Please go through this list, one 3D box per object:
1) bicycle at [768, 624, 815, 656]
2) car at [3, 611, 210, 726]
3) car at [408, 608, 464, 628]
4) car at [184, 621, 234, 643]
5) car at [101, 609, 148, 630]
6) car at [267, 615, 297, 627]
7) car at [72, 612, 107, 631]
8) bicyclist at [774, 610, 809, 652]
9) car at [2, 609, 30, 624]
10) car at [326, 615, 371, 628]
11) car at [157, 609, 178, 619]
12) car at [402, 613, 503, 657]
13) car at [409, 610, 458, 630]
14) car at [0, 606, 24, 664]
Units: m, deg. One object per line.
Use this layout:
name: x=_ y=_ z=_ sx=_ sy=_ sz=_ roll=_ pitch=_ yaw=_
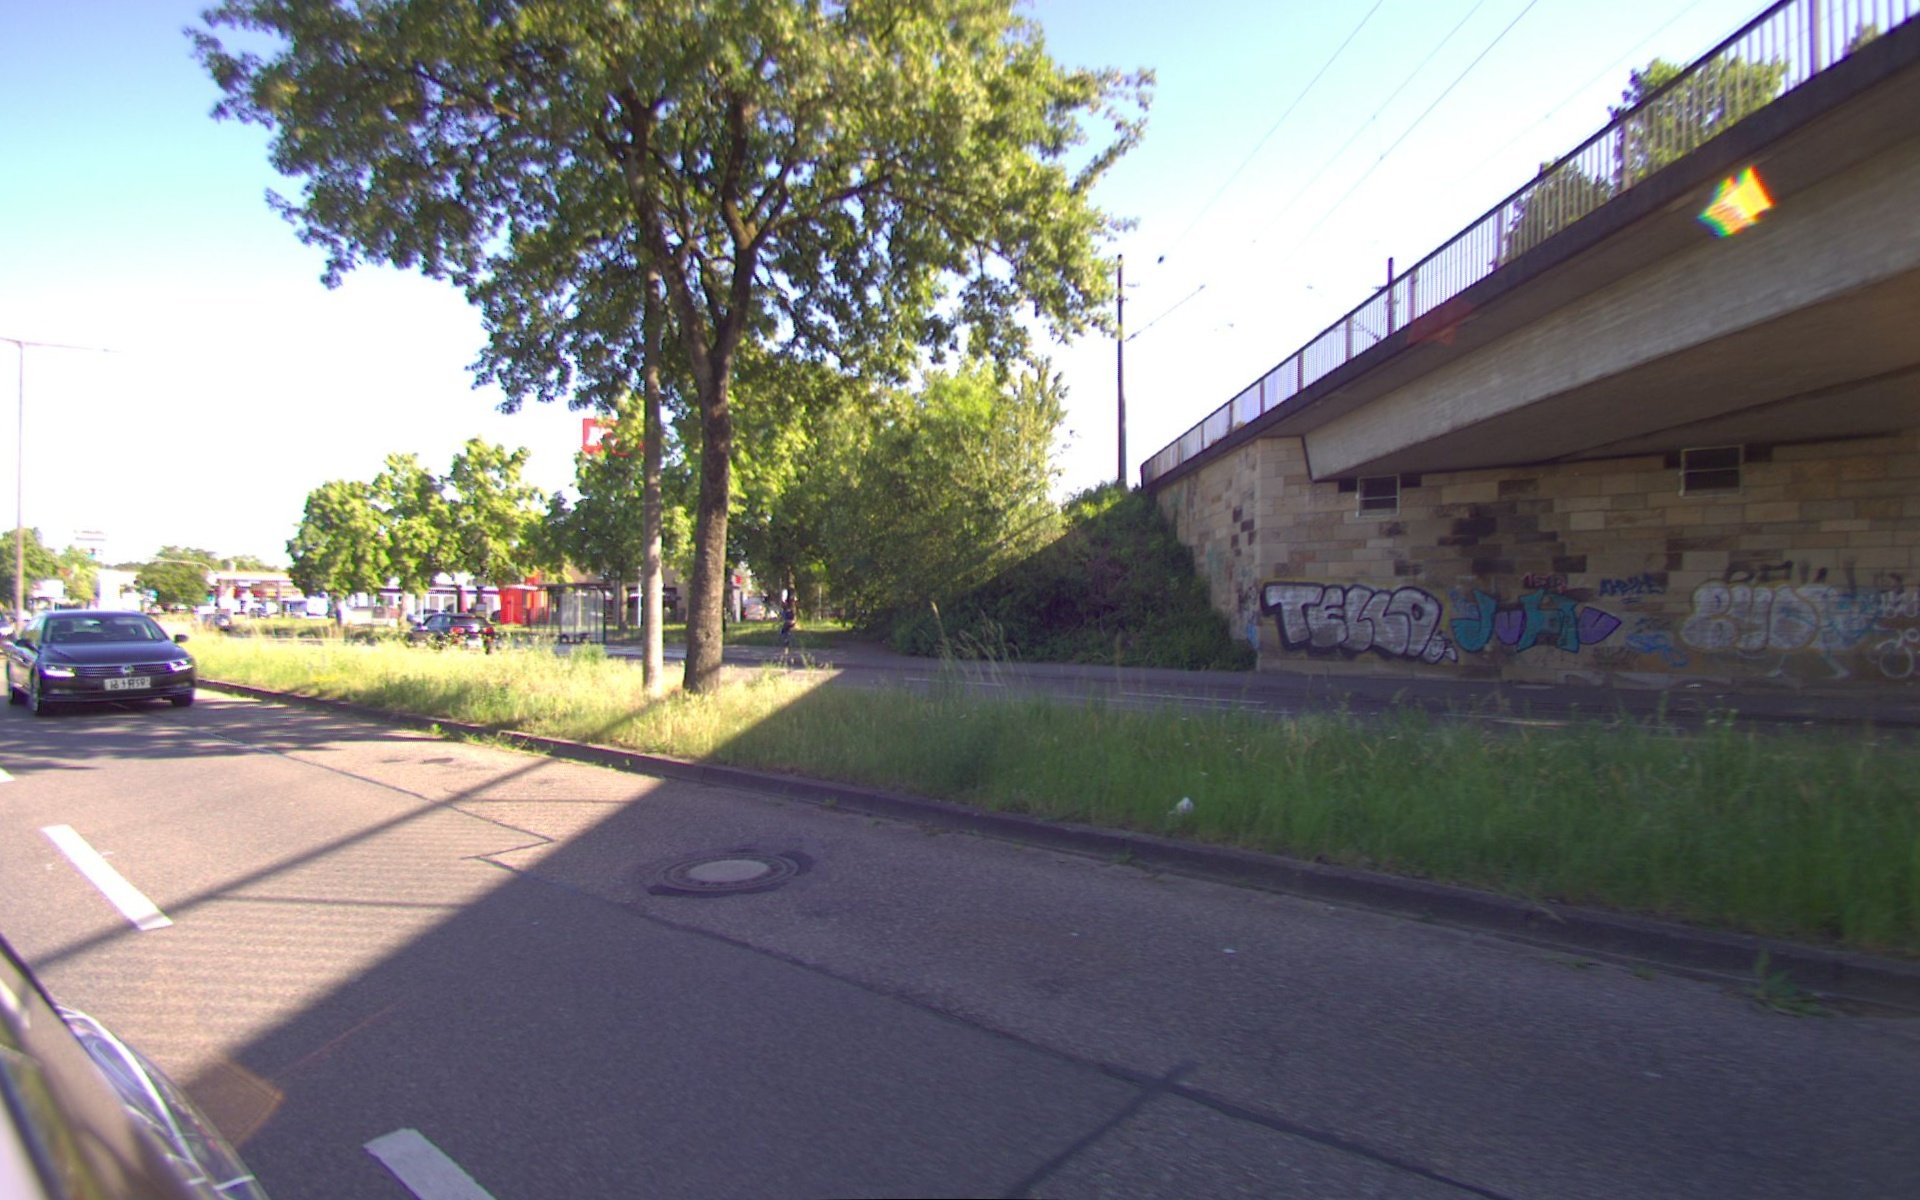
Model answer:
bicycle: x=-5.862 y=1.383 z=35.230 sx=1.714 sy=1.038 sz=0.676 roll=-1 pitch=0 yaw=41
car: x=-12.971 y=0.927 z=15.292 sx=4.264 sy=1.464 sz=1.824 roll=-1 pitch=0 yaw=42
car: x=-47.536 y=1.606 z=91.889 sx=4.074 sy=1.674 sz=1.896 roll=-1 pitch=0 yaw=-1
car: x=-53.560 y=2.298 z=72.144 sx=4.487 sy=1.465 sz=1.894 roll=0 pitch=-3 yaw=41
car: x=-60.109 y=1.401 z=72.780 sx=4.628 sy=1.446 sz=1.798 roll=0 pitch=-3 yaw=41
car: x=-78.809 y=2.479 z=117.634 sx=4.116 sy=1.335 sz=1.876 roll=0 pitch=-2 yaw=40
car: x=-72.907 y=1.793 z=84.734 sx=4.109 sy=1.462 sz=1.624 roll=0 pitch=-3 yaw=41
bicyclist: x=-5.860 y=1.058 z=35.221 sx=1.026 sy=1.412 sz=0.673 roll=-1 pitch=0 yaw=41
car: x=-109.555 y=1.958 z=117.423 sx=4.175 sy=1.697 sz=1.972 roll=0 pitch=-2 yaw=41
car: x=-71.367 y=2.541 z=118.092 sx=1.900 sy=1.443 sz=4.063 roll=0 pitch=-2 yaw=41
car: x=-124.791 y=2.218 z=159.352 sx=4.116 sy=1.625 sz=1.740 roll=0 pitch=-2 yaw=40
car: x=-18.137 y=1.207 z=36.080 sx=4.087 sy=1.453 sz=1.797 roll=0 pitch=-1 yaw=41
car: x=-50.097 y=1.893 z=96.317 sx=3.778 sy=1.864 sz=1.847 roll=-1 pitch=0 yaw=2
car: x=-29.966 y=1.046 z=30.608 sx=4.694 sy=1.696 sz=1.973 roll=0 pitch=1 yaw=41
